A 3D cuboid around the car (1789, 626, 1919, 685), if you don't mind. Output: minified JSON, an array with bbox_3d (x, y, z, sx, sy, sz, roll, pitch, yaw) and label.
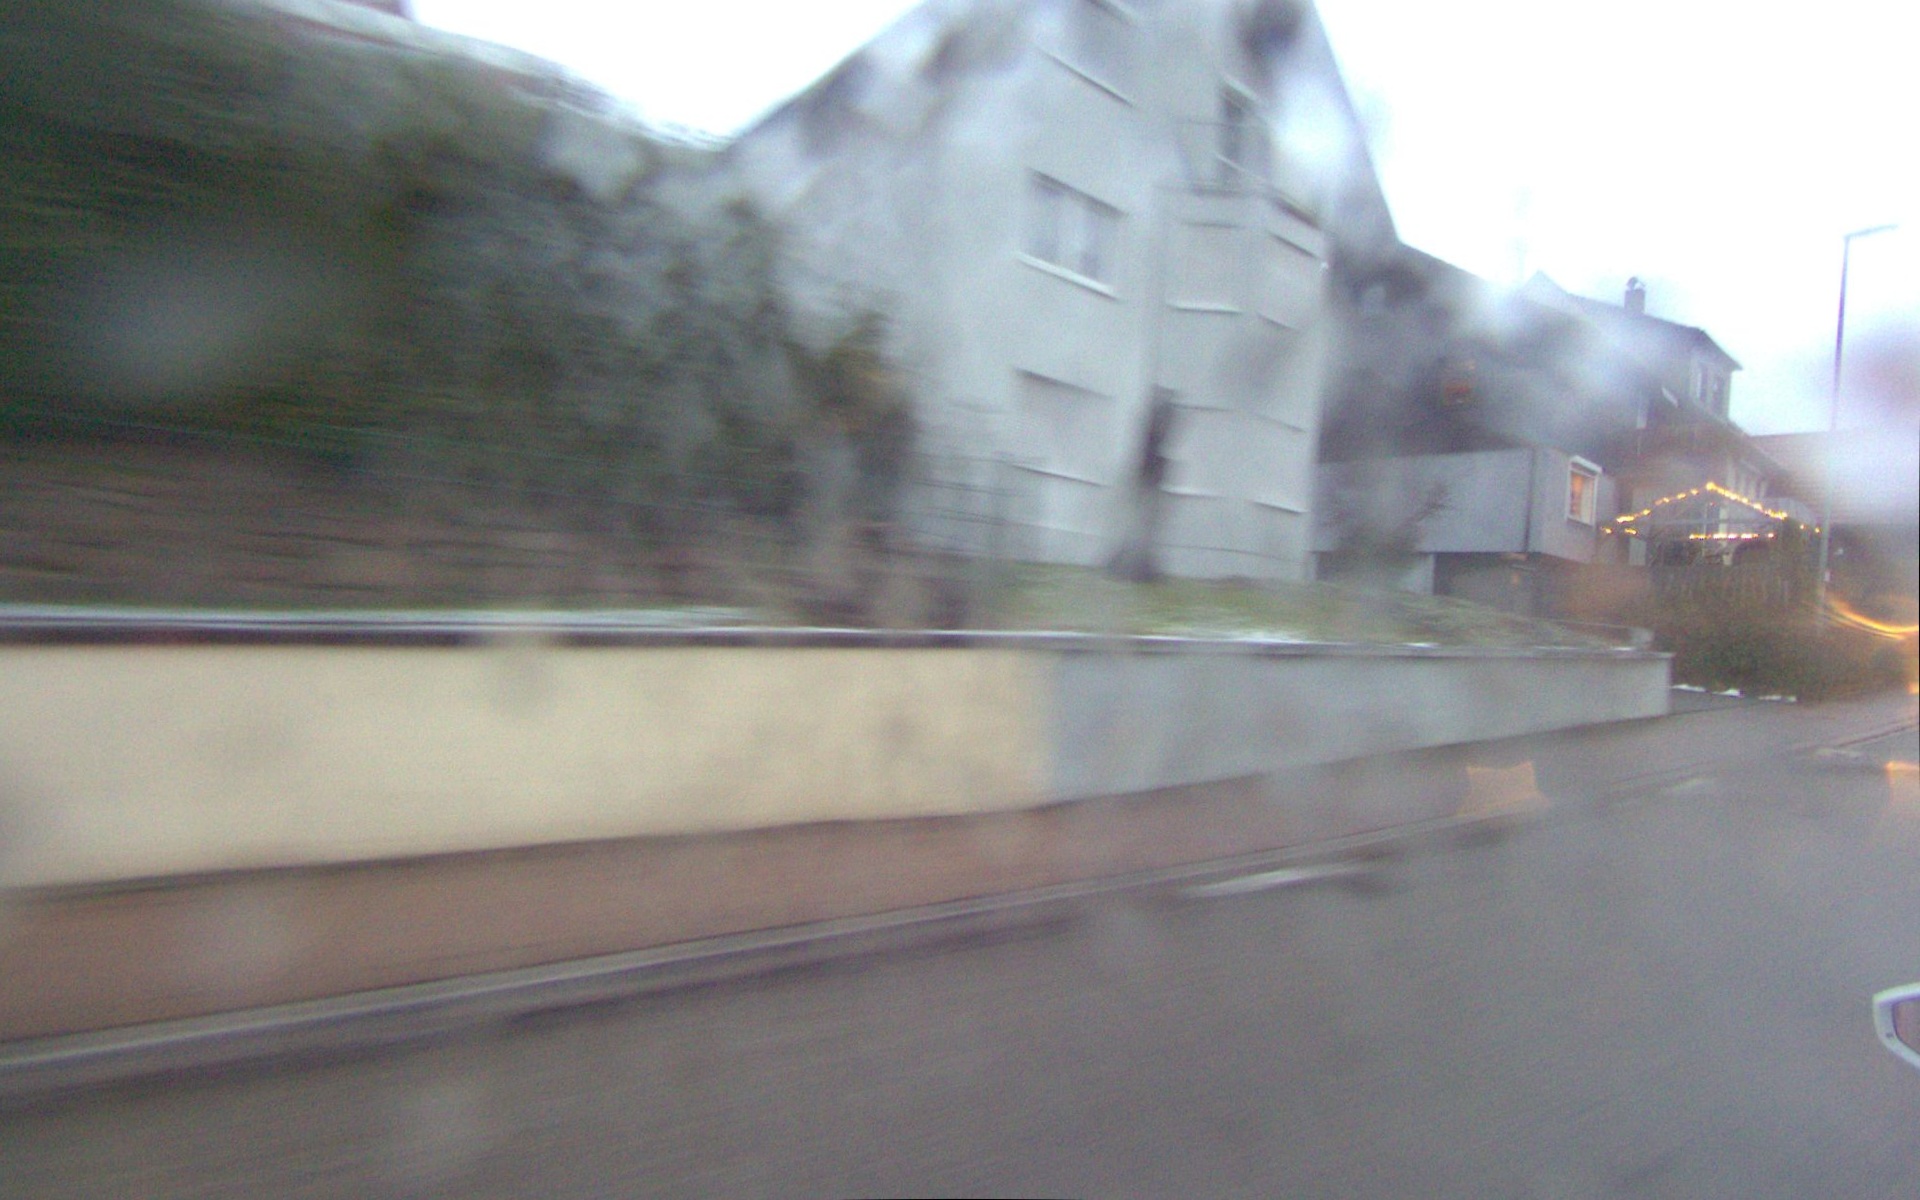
[{"bbox_3d":[27.496,1.632,30.311,1.755,1.549,3.443,1,1,-33],"label":"car"}]

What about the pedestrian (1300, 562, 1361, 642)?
[{"bbox_3d":[8.667,0.024,23.528,0.969,1.755,0.819,5,3,-2],"label":"pedestrian"}]

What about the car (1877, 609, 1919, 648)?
[{"bbox_3d":[42.382,1.283,43.236,1.868,1.639,3.963,1,1,-33],"label":"car"}]
